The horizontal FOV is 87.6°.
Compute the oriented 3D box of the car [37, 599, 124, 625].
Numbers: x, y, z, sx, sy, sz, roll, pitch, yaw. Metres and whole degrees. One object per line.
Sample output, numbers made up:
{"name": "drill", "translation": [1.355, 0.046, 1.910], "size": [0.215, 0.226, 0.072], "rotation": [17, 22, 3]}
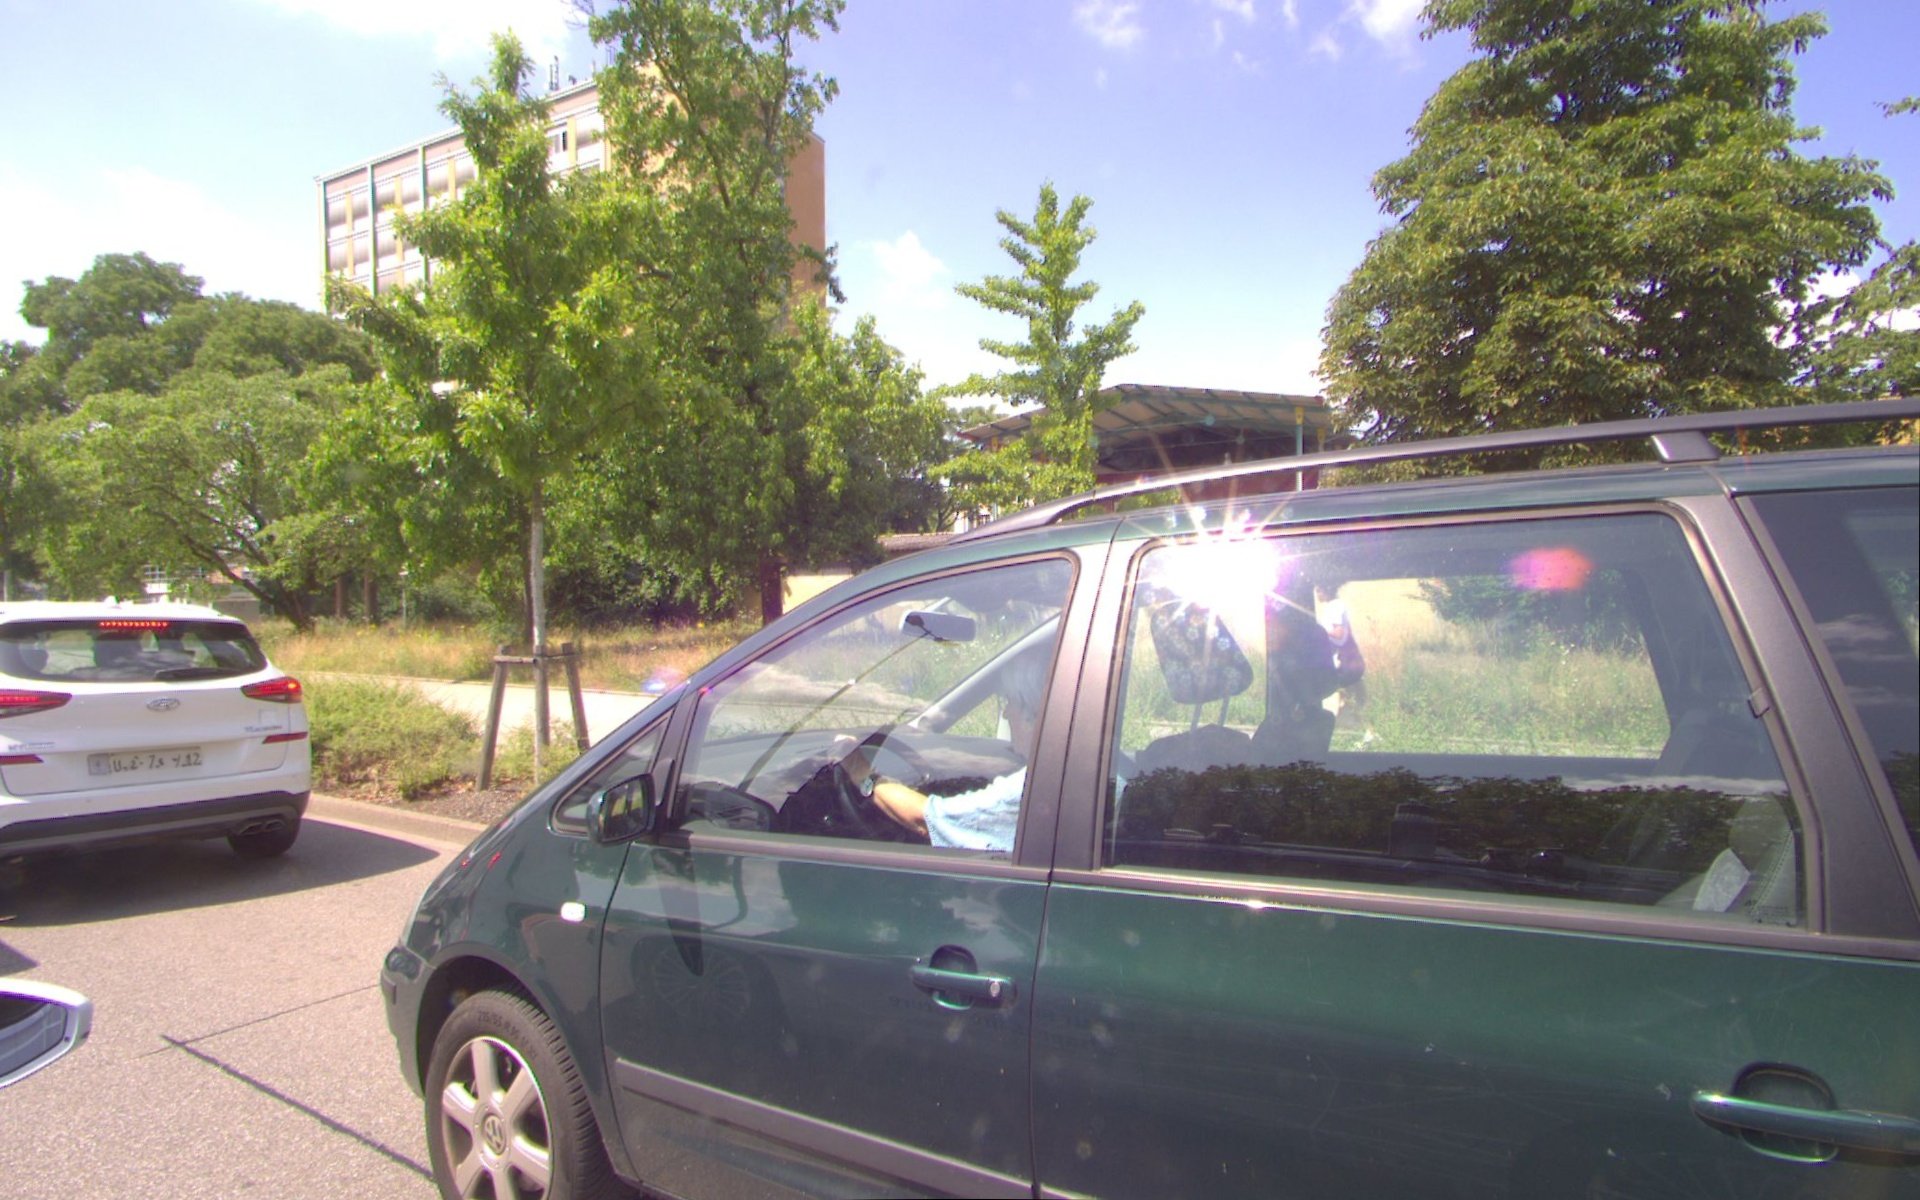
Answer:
{"name": "car", "translation": [-98.451, 1.374, 112.223], "size": [2.451, 2.751, 7.076], "rotation": [-1, -2, 18]}

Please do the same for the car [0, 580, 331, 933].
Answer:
{"name": "car", "translation": [-5.932, 0.770, 6.407], "size": [3.919, 1.701, 1.810], "rotation": [0, 0, 34]}

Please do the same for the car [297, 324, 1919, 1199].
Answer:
{"name": "car", "translation": [0.549, 0.633, 2.291], "size": [4.329, 1.737, 1.799], "rotation": [0, -2, 32]}

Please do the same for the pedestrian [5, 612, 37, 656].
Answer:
{"name": "pedestrian", "translation": [-35.939, 1.288, 38.330], "size": [0.805, 1.677, 0.756], "rotation": [0, 1, 36]}

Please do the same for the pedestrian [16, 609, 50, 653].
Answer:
{"name": "pedestrian", "translation": [-39.422, 1.314, 42.582], "size": [0.802, 1.874, 0.759], "rotation": [0, 1, 22]}

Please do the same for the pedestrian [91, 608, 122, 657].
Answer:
{"name": "pedestrian", "translation": [-33.277, 1.268, 39.036], "size": [0.805, 1.874, 0.756], "rotation": [0, 1, 36]}

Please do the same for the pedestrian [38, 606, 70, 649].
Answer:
{"name": "pedestrian", "translation": [-39.440, 1.196, 43.577], "size": [0.803, 1.874, 0.759], "rotation": [0, 1, 24]}

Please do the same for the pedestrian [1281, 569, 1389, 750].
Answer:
{"name": "pedestrian", "translation": [3.466, 0.520, 9.241], "size": [0.804, 1.578, 0.757], "rotation": [0, 1, 33]}
